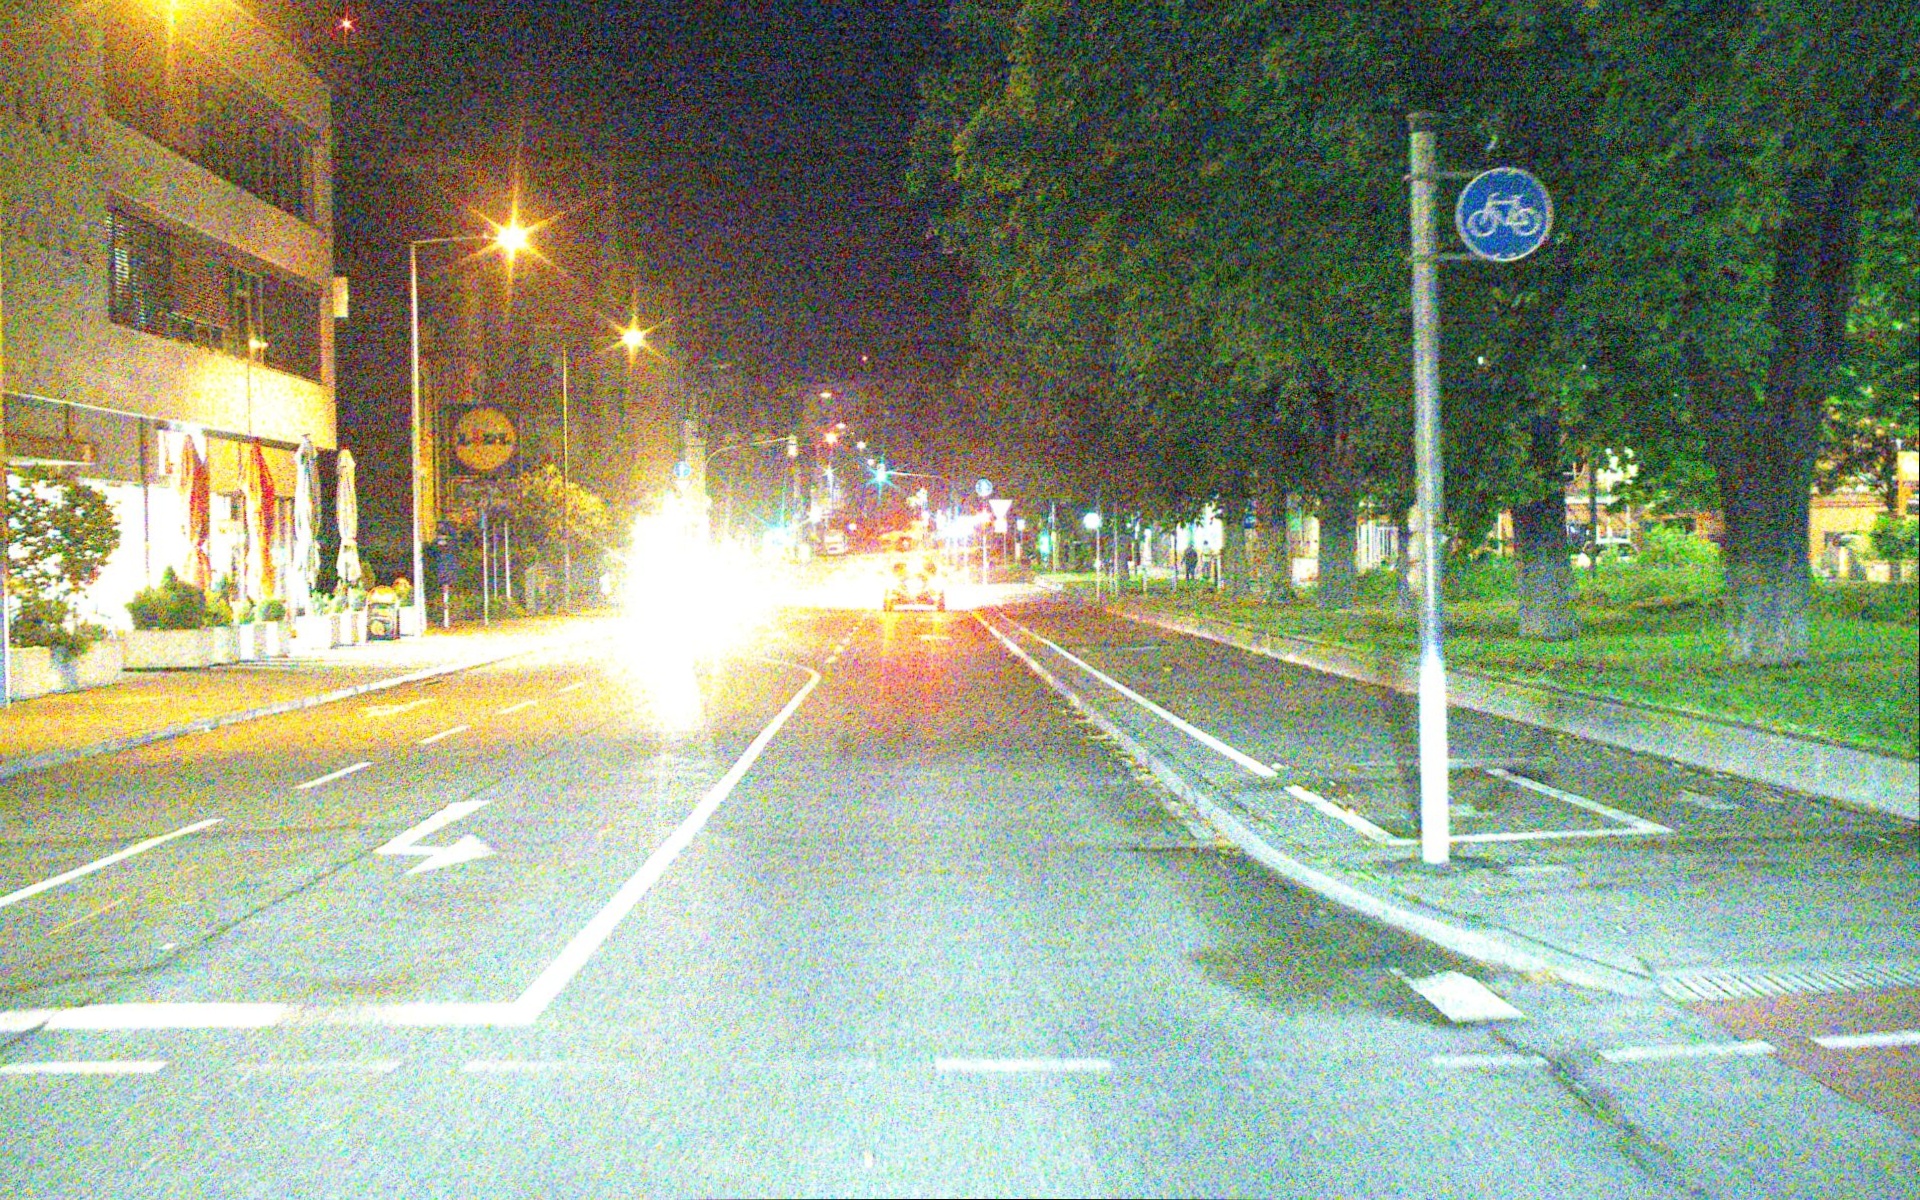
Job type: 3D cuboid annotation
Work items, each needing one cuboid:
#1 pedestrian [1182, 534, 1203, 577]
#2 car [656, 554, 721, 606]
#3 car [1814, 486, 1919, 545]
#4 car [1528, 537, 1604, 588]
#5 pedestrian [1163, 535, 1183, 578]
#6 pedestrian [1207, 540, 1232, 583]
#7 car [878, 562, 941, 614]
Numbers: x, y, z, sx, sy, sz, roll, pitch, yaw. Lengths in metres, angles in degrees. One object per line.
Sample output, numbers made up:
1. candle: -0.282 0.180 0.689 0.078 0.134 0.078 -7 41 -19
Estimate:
1. pedestrian: 9.731 -1.872 144.129 0.738 1.763 0.907 -2 1 -1
2. car: -7.920 -0.600 100.557 1.667 1.423 4.000 -3 1 -2
3. car: 25.147 -2.329 95.435 1.768 1.528 4.099 -1 1 -1
4. car: 18.961 -1.188 107.634 1.782 1.528 4.000 -1 1 2
5. pedestrian: 8.922 -1.837 144.027 0.714 1.763 0.907 -2 1 -1
6. pedestrian: 10.876 -1.623 144.180 0.901 1.763 0.907 -1 1 -2
7. car: -1.503 -0.384 103.506 1.805 1.489 4.730 1 1 0
